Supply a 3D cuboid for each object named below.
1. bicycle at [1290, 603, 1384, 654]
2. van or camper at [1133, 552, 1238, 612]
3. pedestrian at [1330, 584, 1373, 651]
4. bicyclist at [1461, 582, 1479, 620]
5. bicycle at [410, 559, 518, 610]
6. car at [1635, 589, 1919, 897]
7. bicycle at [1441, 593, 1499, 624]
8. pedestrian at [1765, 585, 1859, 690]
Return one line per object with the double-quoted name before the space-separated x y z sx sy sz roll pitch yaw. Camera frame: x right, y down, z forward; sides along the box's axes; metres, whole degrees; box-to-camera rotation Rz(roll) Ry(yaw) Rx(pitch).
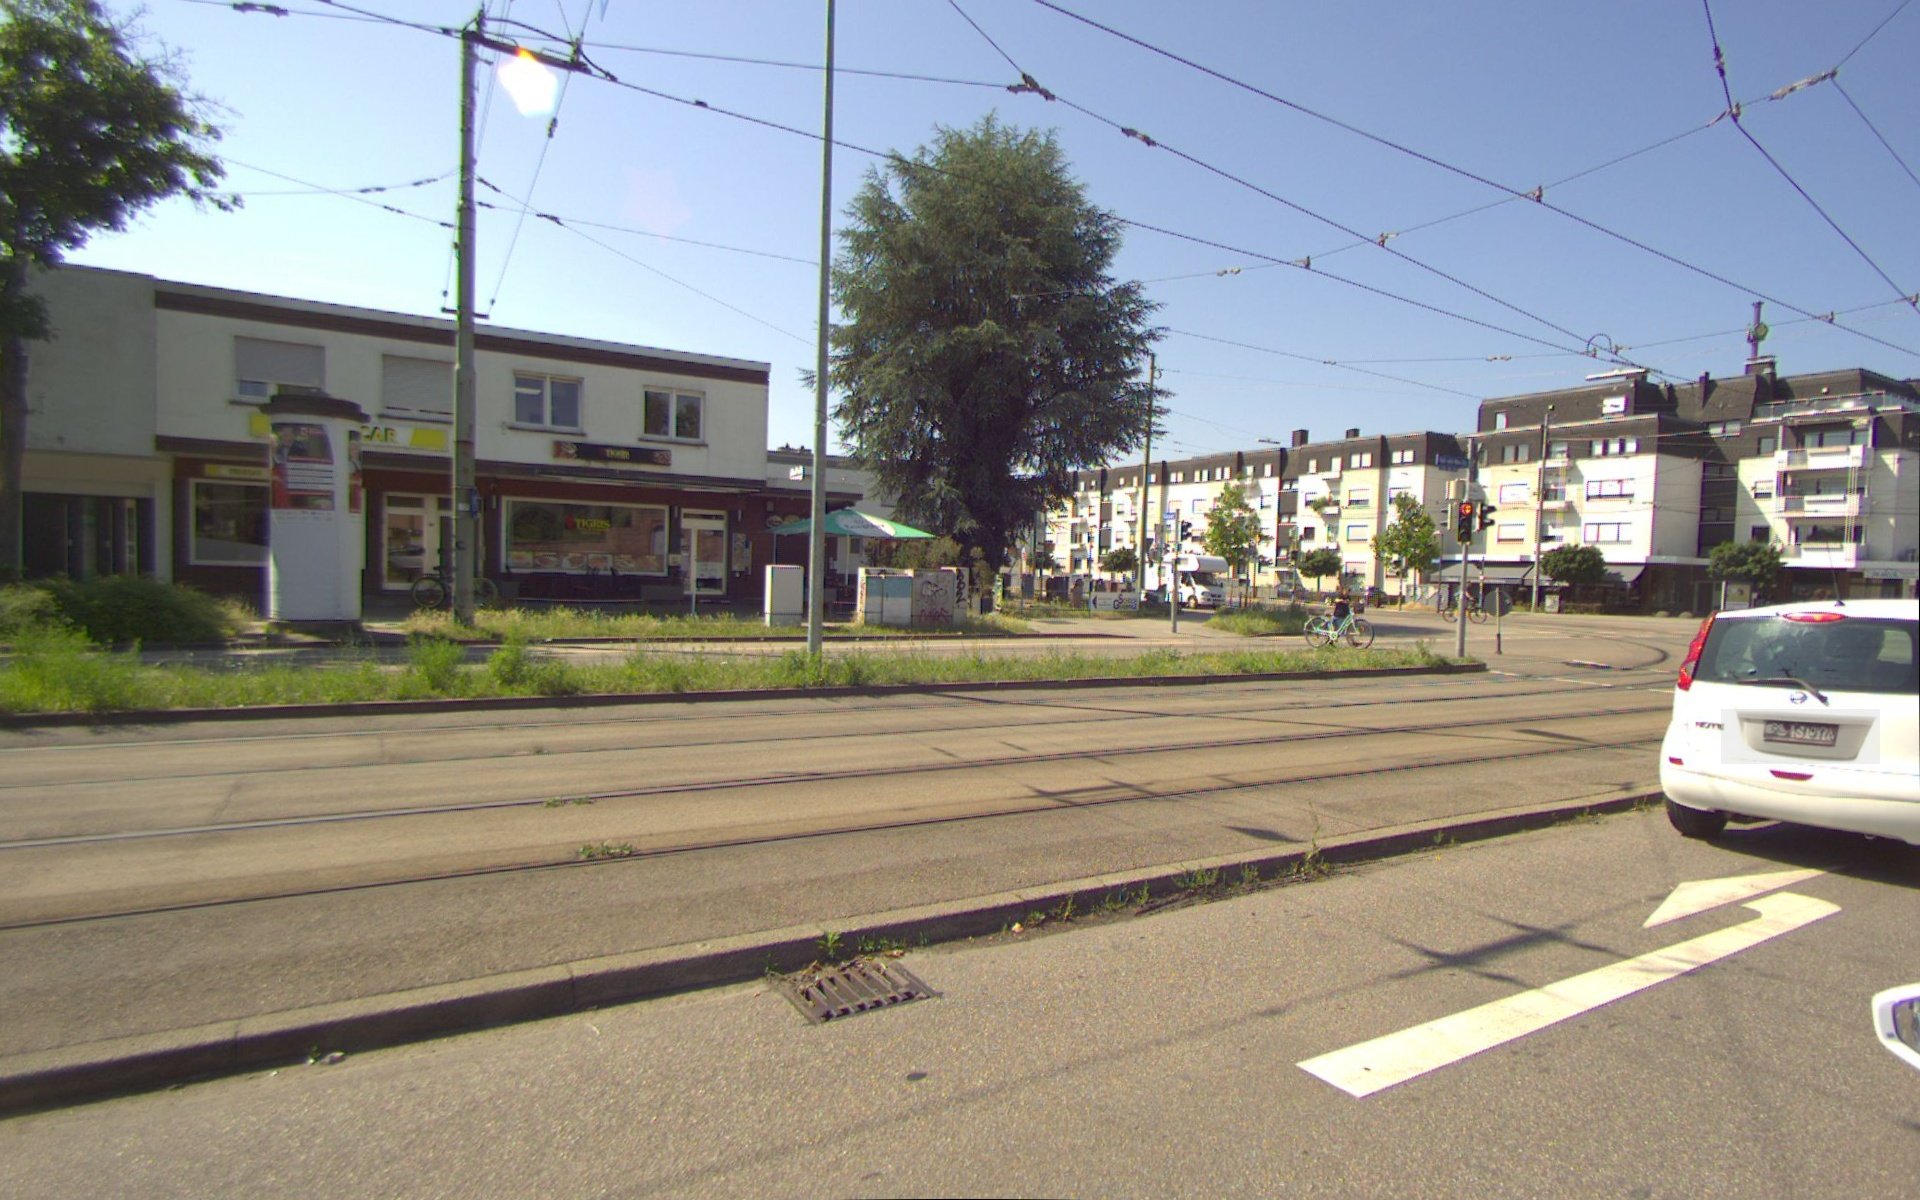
"bicycle" 9.074 0.669 24.227 0.705 1.105 1.999 0 2 -44
"van or camper" 12.592 -0.967 56.435 2.545 3.133 5.656 2 0 -30
"pedestrian" 9.579 0.425 24.580 0.671 1.593 0.738 1 1 -44
"bicyclist" 22.350 0.028 43.992 0.627 1.634 0.561 1 0 31
"bicycle" -12.005 -0.352 24.341 2.306 1.167 0.783 1 0 -30
"car" 6.311 0.734 6.618 3.759 1.587 1.634 0 1 -31
"bicycle" 22.335 0.372 43.994 2.209 1.314 0.559 1 0 30
"pedestrian" 14.154 0.609 16.696 0.946 1.673 0.965 2 0 -34
